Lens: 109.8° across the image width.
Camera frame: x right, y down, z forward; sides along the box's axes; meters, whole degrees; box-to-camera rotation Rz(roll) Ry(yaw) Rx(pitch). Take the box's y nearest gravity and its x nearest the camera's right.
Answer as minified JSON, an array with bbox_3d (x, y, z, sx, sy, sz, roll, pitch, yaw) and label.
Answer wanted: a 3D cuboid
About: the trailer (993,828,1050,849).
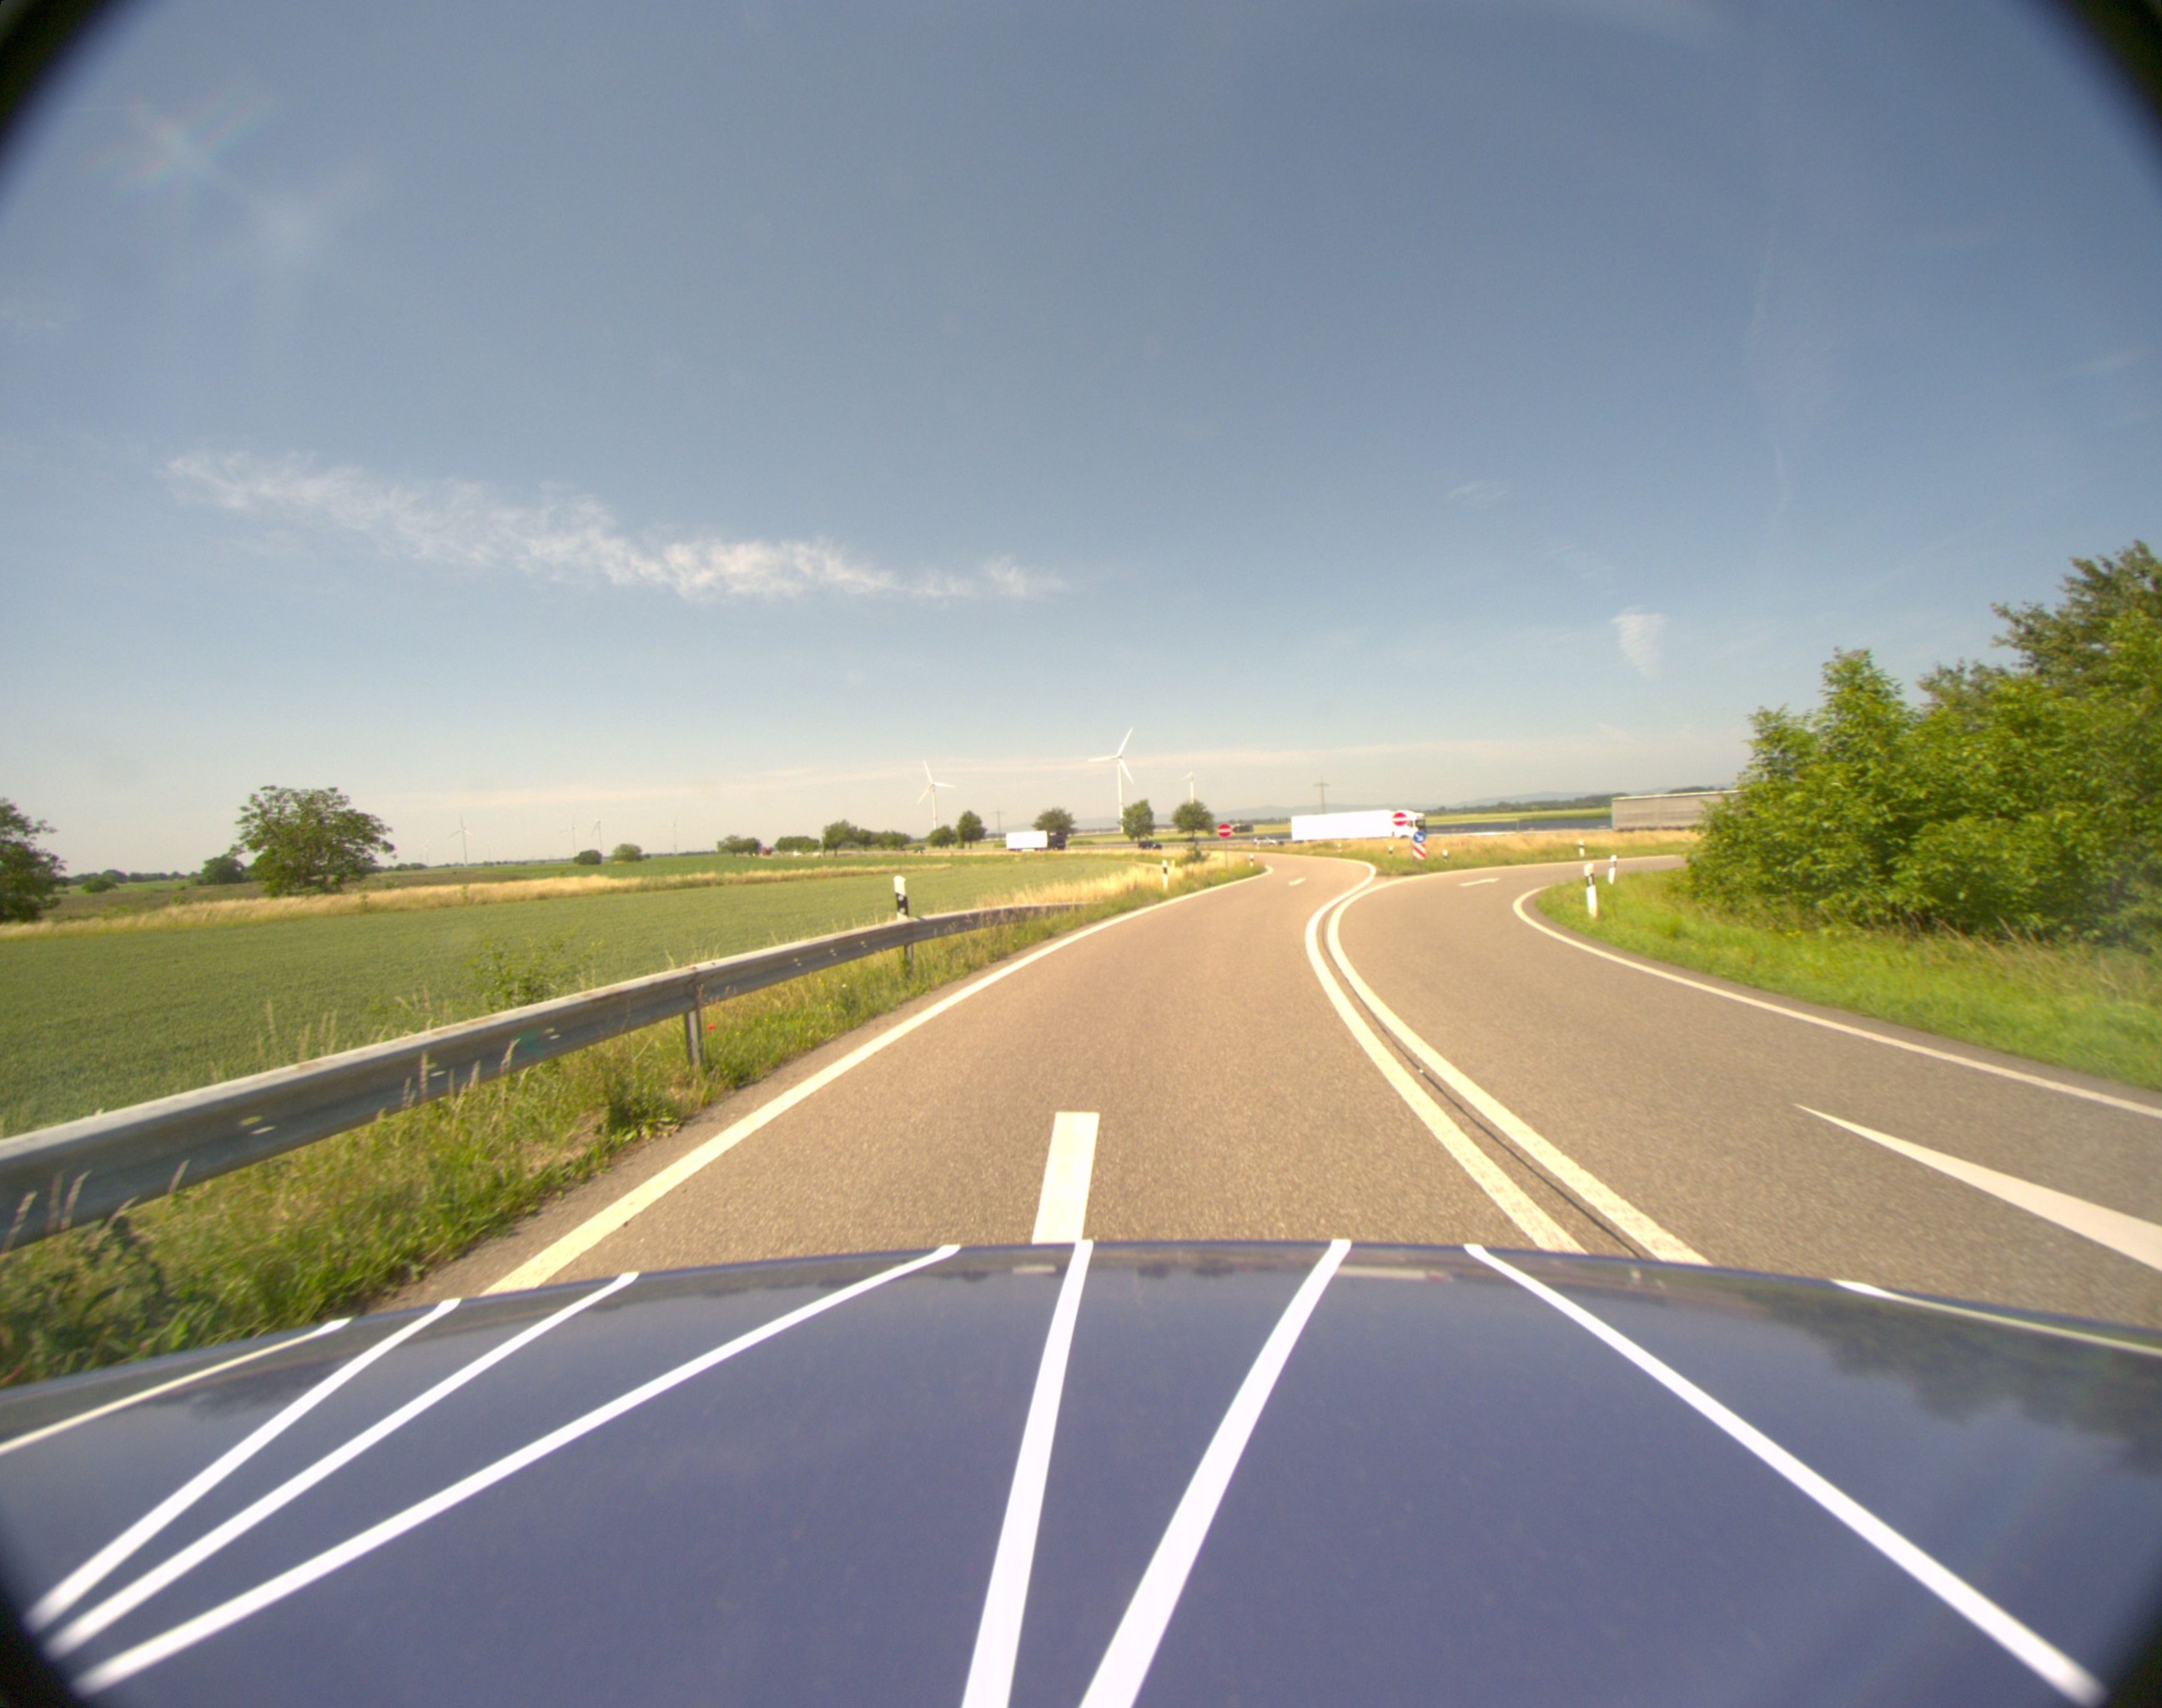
[{"bbox_3d":[-11.682,-2.947,146.927,3.108,3.624,14.474,-3,2,-39],"label":"trailer"}]

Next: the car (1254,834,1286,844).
[{"bbox_3d":[26.202,-2.082,105.506,1.684,1.346,3.989,-3,2,-39],"label":"car"}]

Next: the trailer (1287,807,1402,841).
[{"bbox_3d":[31.763,-3.529,92.604,3.108,3.624,13.618,-3,2,-39],"label":"trailer"}]

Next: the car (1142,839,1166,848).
[{"bbox_3d":[11.993,-1.693,125.347,1.684,1.346,3.989,-3,2,-37],"label":"car"}]

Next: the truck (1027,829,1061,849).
[{"bbox_3d":[-6.833,-2.812,141.000,3.121,3.498,6.219,-3,2,-39],"label":"truck"}]

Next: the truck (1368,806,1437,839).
[{"bbox_3d":[36.581,-3.523,86.632,3.121,3.498,6.437,-3,2,-39],"label":"truck"}]

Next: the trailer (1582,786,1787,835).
[{"bbox_3d":[52.307,-3.667,66.634,3.108,3.624,13.767,-3,2,-36],"label":"trailer"}]

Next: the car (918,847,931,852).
[{"bbox_3d":[-41.114,-1.214,199.399,1.684,1.346,3.989,-3,2,-39],"label":"car"}]

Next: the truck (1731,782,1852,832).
[{"bbox_3d":[56.590,-3.674,60.656,3.120,3.645,6.612,-3,2,-36],"label":"truck"}]
